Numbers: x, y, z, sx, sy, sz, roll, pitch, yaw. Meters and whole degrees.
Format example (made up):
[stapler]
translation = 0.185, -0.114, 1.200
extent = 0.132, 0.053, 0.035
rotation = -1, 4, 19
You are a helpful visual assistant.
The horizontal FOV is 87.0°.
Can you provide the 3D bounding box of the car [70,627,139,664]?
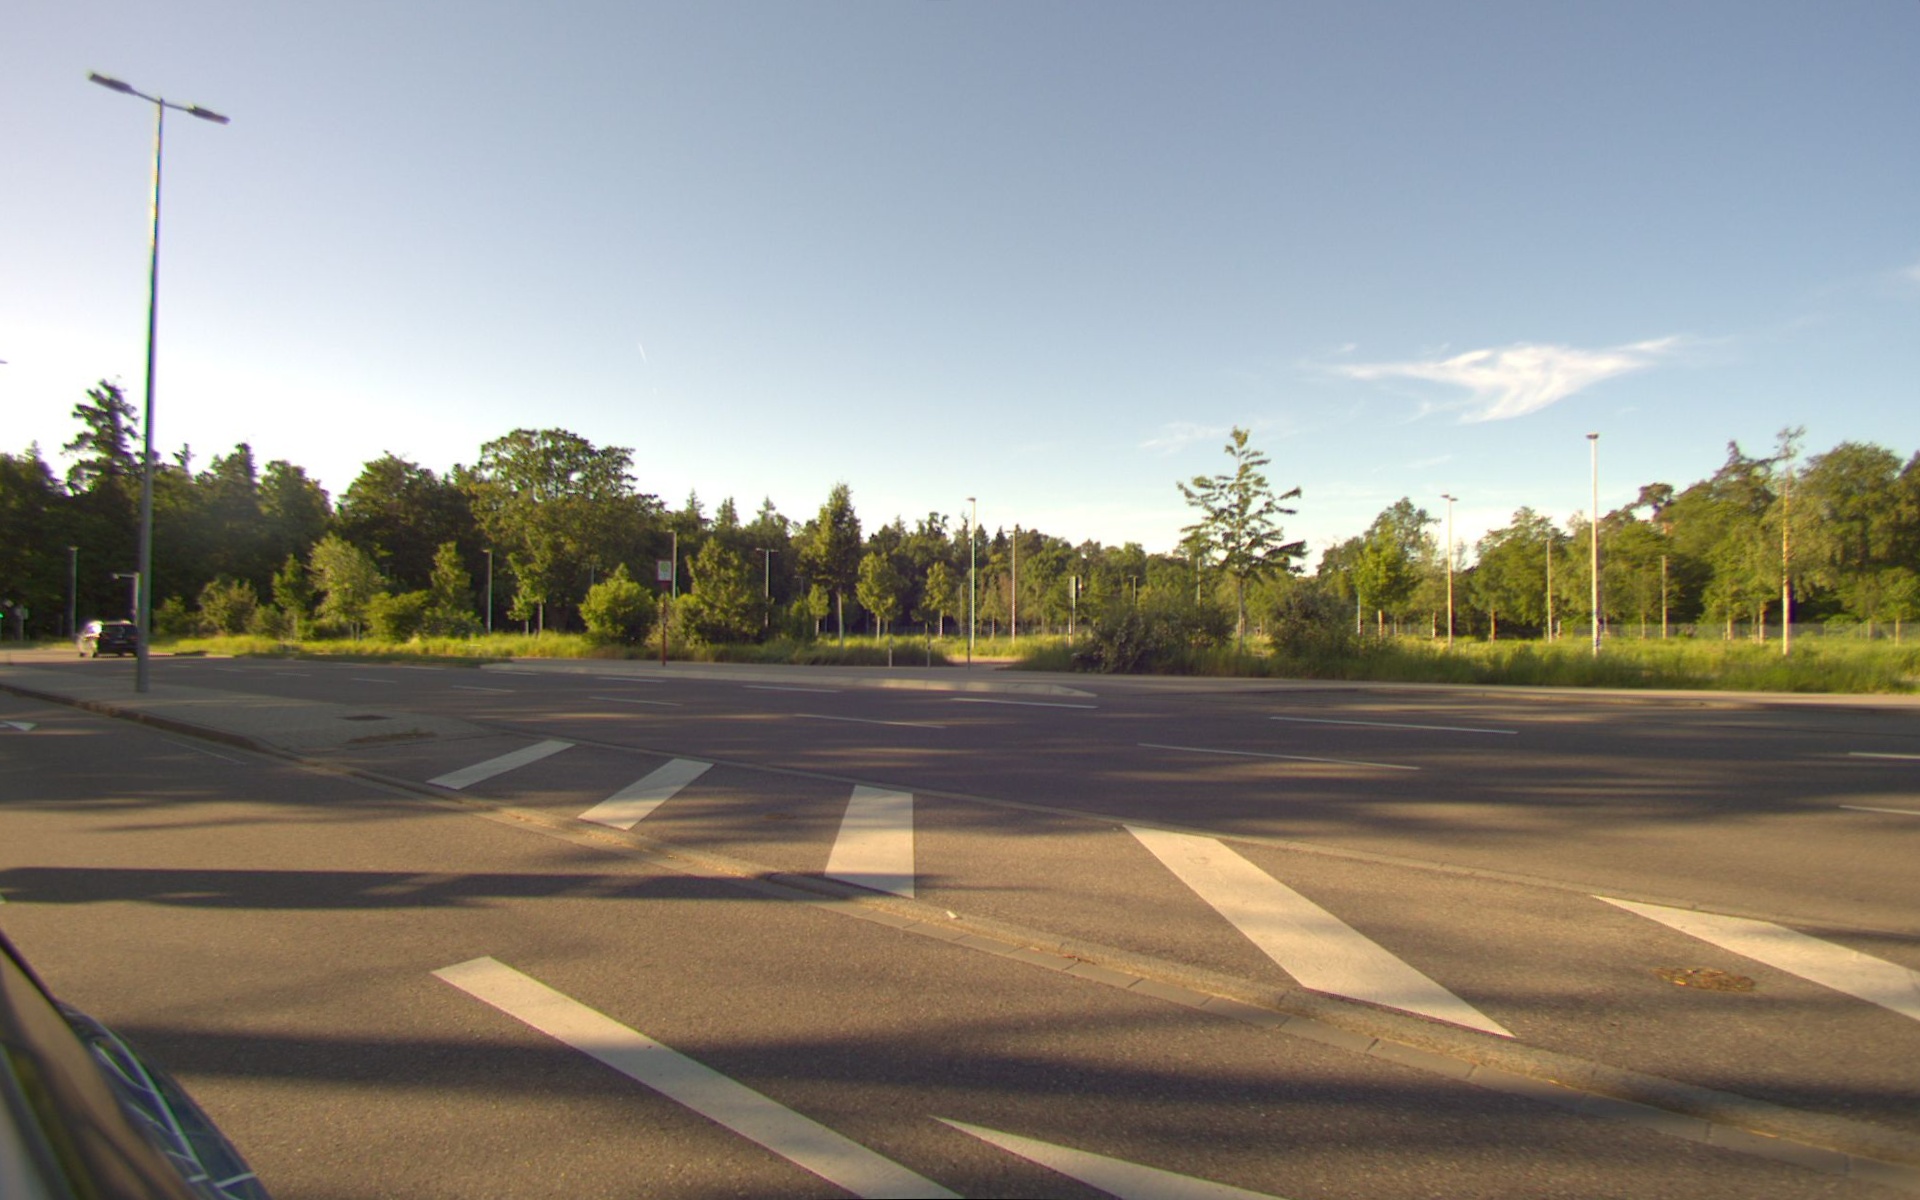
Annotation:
[car]
translation = -41.588, 2.207, 49.155
extent = 4.697, 1.705, 1.765
rotation = -2, -2, 39
